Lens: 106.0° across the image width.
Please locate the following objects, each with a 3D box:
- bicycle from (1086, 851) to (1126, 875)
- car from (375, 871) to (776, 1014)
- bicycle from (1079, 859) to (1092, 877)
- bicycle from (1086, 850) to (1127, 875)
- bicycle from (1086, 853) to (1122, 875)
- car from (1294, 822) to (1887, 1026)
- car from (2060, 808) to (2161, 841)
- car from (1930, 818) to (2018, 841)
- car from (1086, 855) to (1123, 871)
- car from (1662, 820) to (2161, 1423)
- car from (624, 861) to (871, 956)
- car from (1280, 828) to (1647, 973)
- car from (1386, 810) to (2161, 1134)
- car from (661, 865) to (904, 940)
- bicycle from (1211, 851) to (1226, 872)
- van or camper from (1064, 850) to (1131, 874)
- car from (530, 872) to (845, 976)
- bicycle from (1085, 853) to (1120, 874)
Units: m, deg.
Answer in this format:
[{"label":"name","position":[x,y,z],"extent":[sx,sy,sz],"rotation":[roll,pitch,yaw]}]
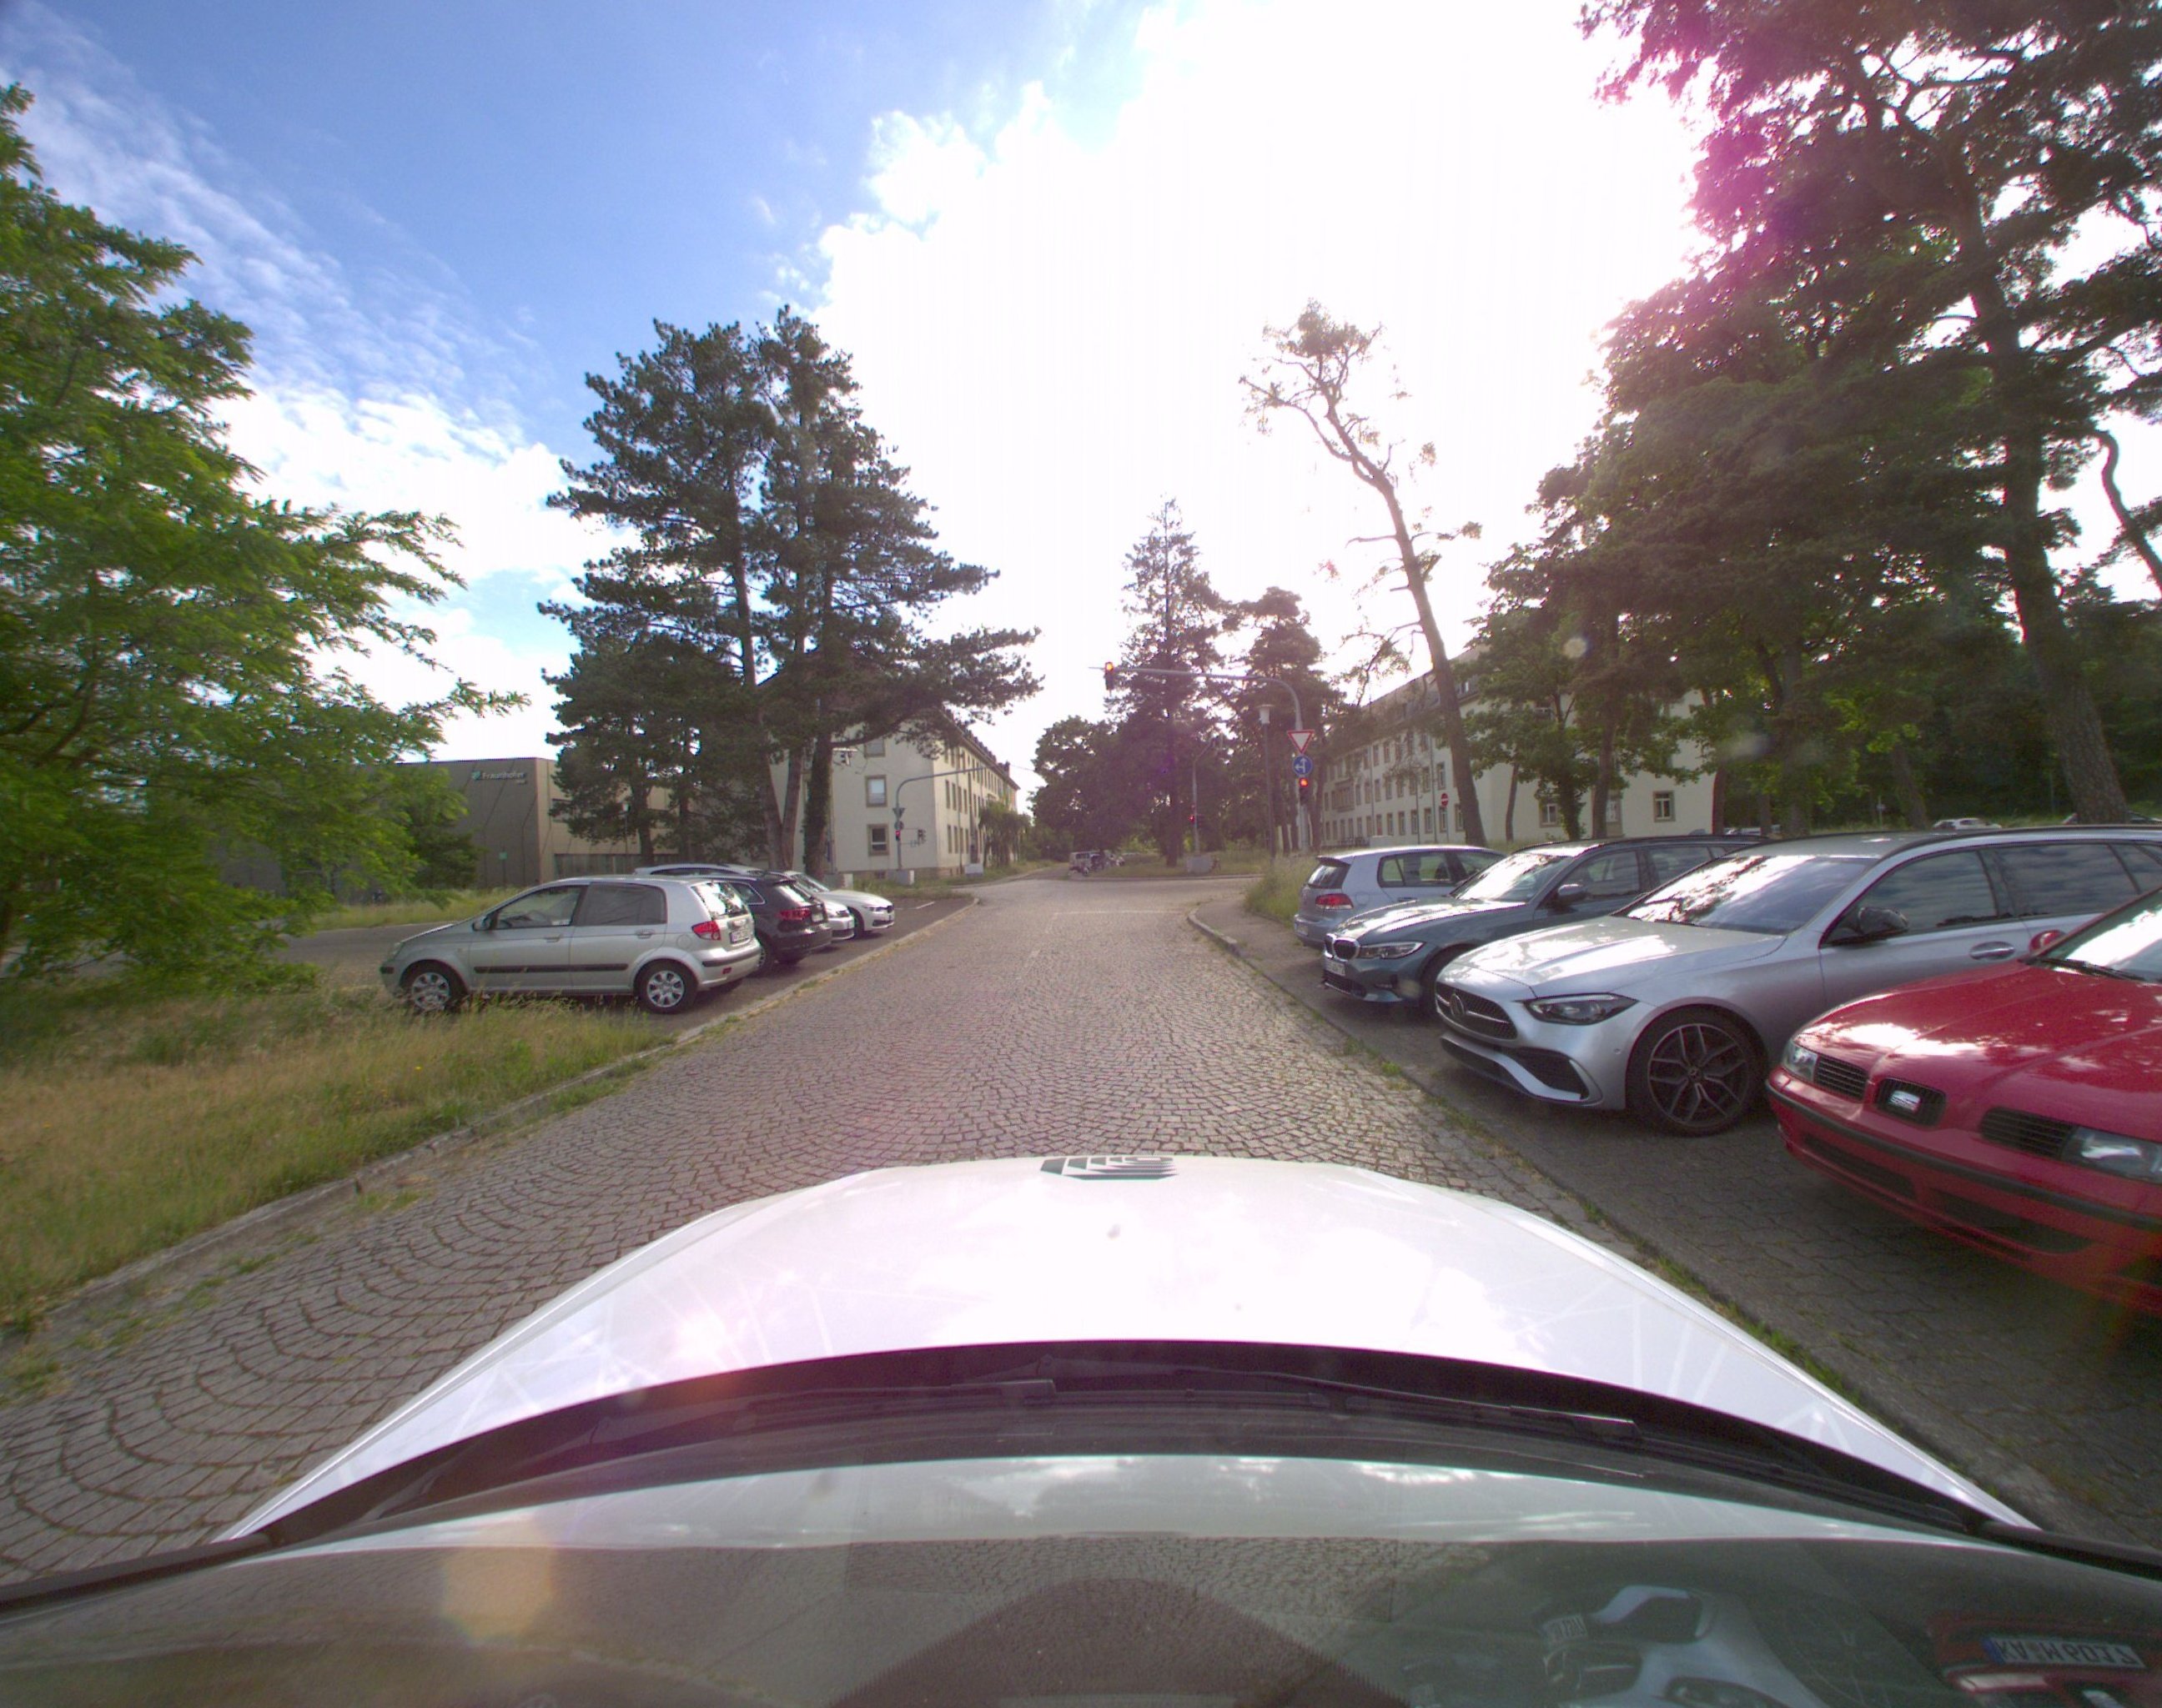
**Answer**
[{"label":"bicycle","position":[1.832,0.673,60.576],"extent":[2.773,1.694,1.117],"rotation":[-3,0,-7]},{"label":"car","position":[-5.639,0.950,9.454],"extent":[3.567,1.476,1.646],"rotation":[0,-1,-2]},{"label":"bicycle","position":[0.307,0.959,55.101],"extent":[0.723,1.107,2.463],"rotation":[-7,-1,2]},{"label":"bicycle","position":[1.841,0.641,59.382],"extent":[2.771,1.694,1.118],"rotation":[-3,0,-5]},{"label":"bicycle","position":[1.826,0.785,64.141],"extent":[2.763,1.694,1.121],"rotation":[0,-1,4]},{"label":"car","position":[4.534,0.574,7.712],"extent":[4.501,1.483,1.806],"rotation":[-3,0,-2]},{"label":"car","position":[56.554,-1.618,44.368],"extent":[2.009,1.600,3.955],"rotation":[-3,0,-37]},{"label":"car","position":[57.786,-1.575,52.734],"extent":[3.973,1.398,1.563],"rotation":[0,-1,0]},{"label":"car","position":[2.119,0.823,73.774],"extent":[3.133,1.354,1.617],"rotation":[-2,0,-6]},{"label":"car","position":[4.642,0.568,2.747],"extent":[4.093,1.423,1.720],"rotation":[-3,0,1]},{"label":"car","position":[-6.013,0.948,15.042],"extent":[3.822,1.607,1.734],"rotation":[0,0,-3]},{"label":"car","position":[4.668,0.538,10.321],"extent":[3.830,1.471,1.641],"rotation":[-3,0,-1]},{"label":"car","position":[4.395,0.576,5.038],"extent":[4.313,1.428,1.766],"rotation":[-3,0,-1]},{"label":"car","position":[-6.217,1.008,17.398],"extent":[4.468,1.442,1.828],"rotation":[1,0,-3]},{"label":"bicycle","position":[8.020,0.424,47.577],"extent":[0.720,1.169,2.742],"rotation":[-1,0,7]},{"label":"van or camper","position":[1.532,0.745,77.353],"extent":[6.039,1.948,1.991],"rotation":[-3,0,-14]},{"label":"car","position":[-5.681,0.985,12.103],"extent":[3.824,1.408,1.695],"rotation":[0,0,-1]},{"label":"bicycle","position":[1.758,0.779,65.479],"extent":[2.765,1.694,1.120],"rotation":[0,-1,1]}]
